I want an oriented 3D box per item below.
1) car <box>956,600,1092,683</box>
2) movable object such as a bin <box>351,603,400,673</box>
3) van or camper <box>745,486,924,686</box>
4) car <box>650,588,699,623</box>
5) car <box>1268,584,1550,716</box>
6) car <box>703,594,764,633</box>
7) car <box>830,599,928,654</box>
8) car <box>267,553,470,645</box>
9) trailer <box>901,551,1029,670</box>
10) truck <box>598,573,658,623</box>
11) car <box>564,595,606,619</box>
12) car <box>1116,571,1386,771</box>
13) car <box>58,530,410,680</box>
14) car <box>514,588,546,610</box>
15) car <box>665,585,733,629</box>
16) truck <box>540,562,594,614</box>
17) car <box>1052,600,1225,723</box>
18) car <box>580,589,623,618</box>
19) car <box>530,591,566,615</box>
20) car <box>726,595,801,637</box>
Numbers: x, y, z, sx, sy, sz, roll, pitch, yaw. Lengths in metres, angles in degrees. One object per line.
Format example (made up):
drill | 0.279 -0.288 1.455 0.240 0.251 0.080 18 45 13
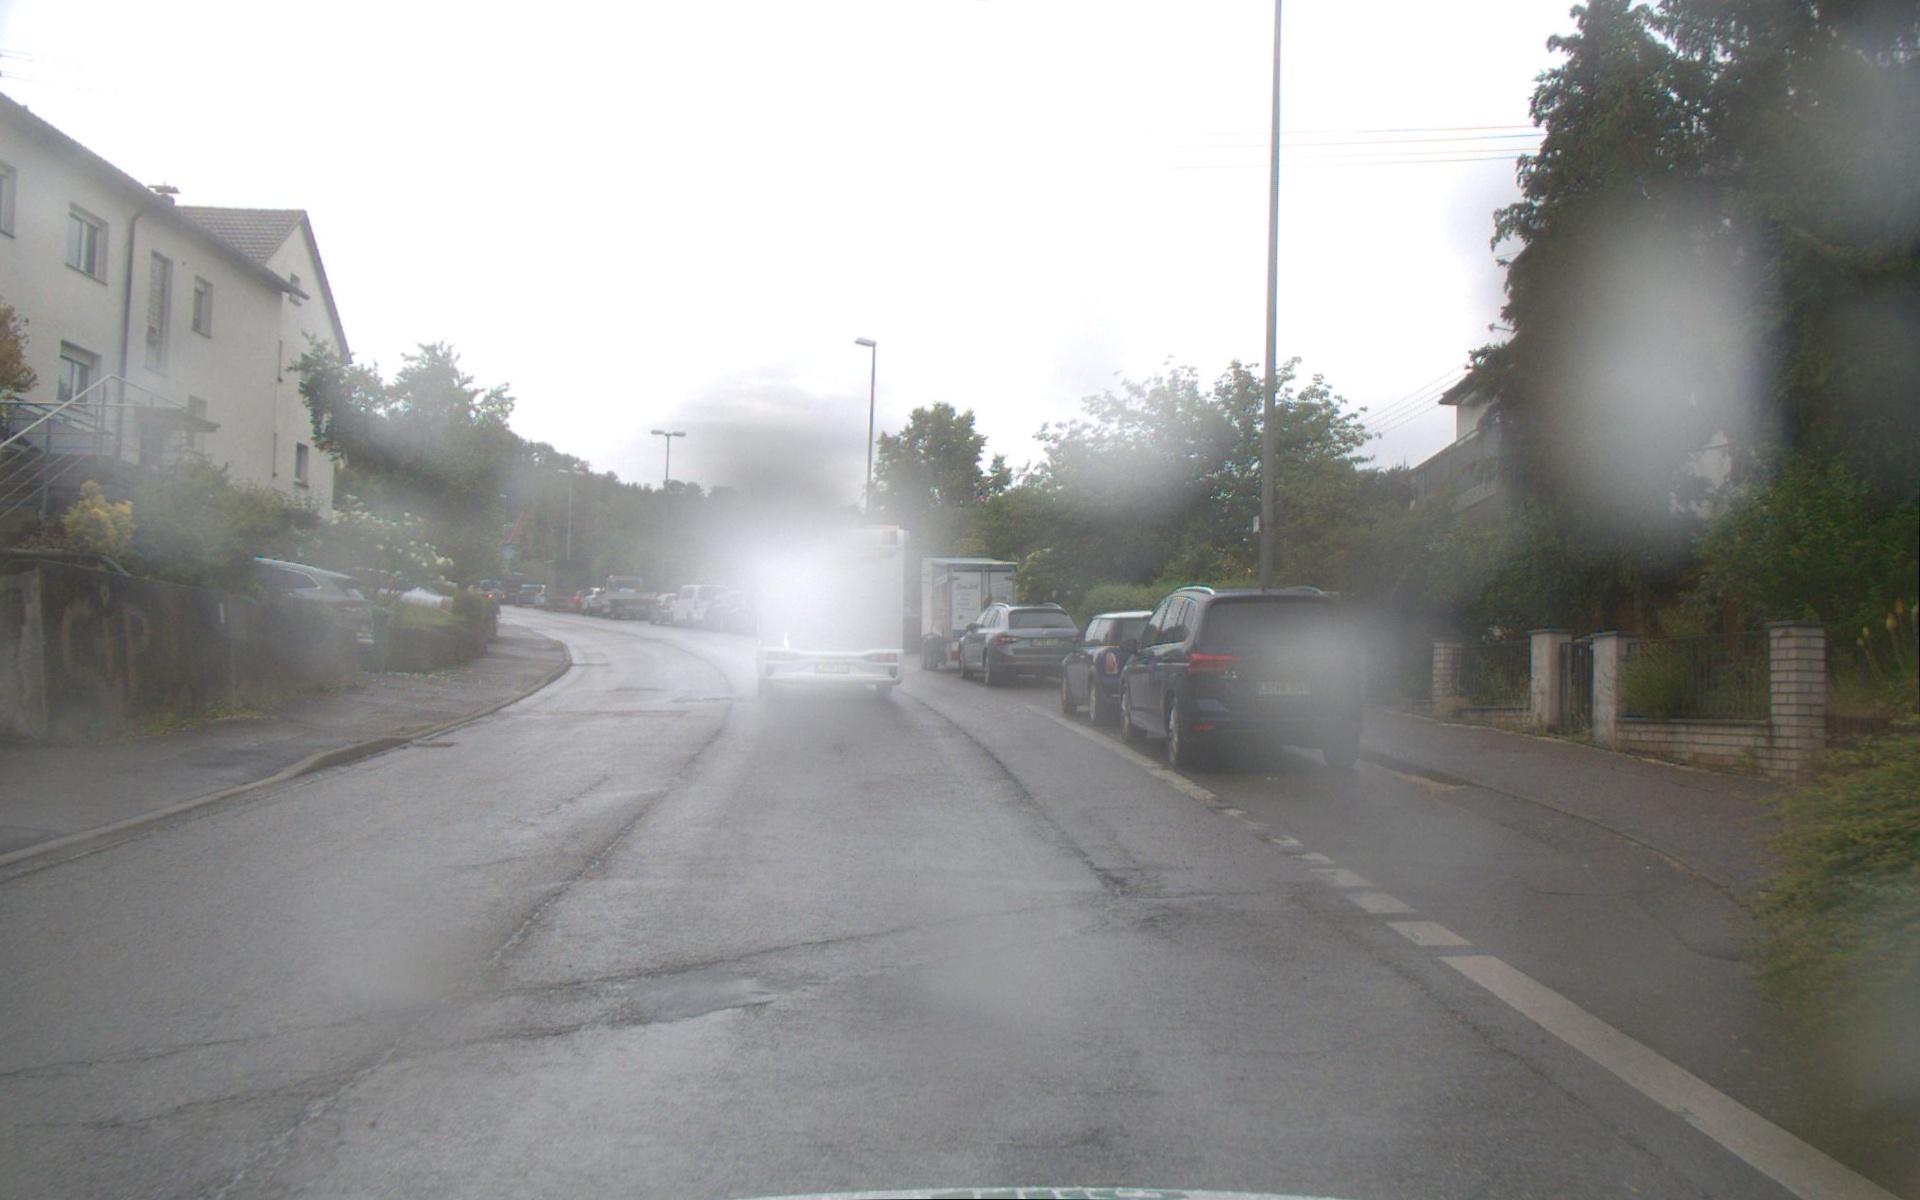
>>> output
car | 1.128 0.740 31.665 1.715 1.449 4.694 1 0 -9
movable object such as a bin | -9.873 0.632 27.961 0.528 1.094 0.741 7 -1 -9
van or camper | -2.266 -0.100 27.939 2.566 2.903 6.020 3 -2 -7
car | -13.755 0.254 79.589 1.624 1.590 3.939 1 0 -20
car | 7.155 0.782 26.597 3.925 1.717 1.776 5 0 -3
car | -9.513 0.550 69.210 1.621 1.567 4.327 1 0 -21
car | -2.404 0.718 47.830 1.764 1.485 4.767 1 0 -16
car | -14.484 -0.003 40.663 4.171 1.455 1.765 10 -2 -2
trailer | 0.009 0.231 37.832 1.914 2.499 5.420 1 0 -11
truck | -18.450 -0.106 91.652 2.206 2.677 6.498 1 0 -20
car | -23.923 0.448 105.472 1.807 1.463 4.952 1 0 -22
car | 2.772 0.633 16.764 1.793 1.730 4.459 1 0 -2
car | -11.078 0.095 25.543 4.427 1.641 1.929 8 -2 -8
car | -33.083 -0.089 127.122 1.908 1.701 4.667 1 0 -20
car | -11.785 0.312 74.526 1.824 1.915 4.874 1 0 -24
truck | -26.721 -0.783 112.238 2.402 3.394 7.912 1 0 -22
car | 2.304 0.768 22.170 1.602 1.482 3.697 1 0 -5
car | -21.271 0.204 98.061 1.735 1.632 4.635 1 0 -22
car | -29.951 0.221 120.134 1.820 1.713 5.601 1 0 -22
car | -7.635 0.587 63.877 1.789 1.533 4.695 1 0 -21
